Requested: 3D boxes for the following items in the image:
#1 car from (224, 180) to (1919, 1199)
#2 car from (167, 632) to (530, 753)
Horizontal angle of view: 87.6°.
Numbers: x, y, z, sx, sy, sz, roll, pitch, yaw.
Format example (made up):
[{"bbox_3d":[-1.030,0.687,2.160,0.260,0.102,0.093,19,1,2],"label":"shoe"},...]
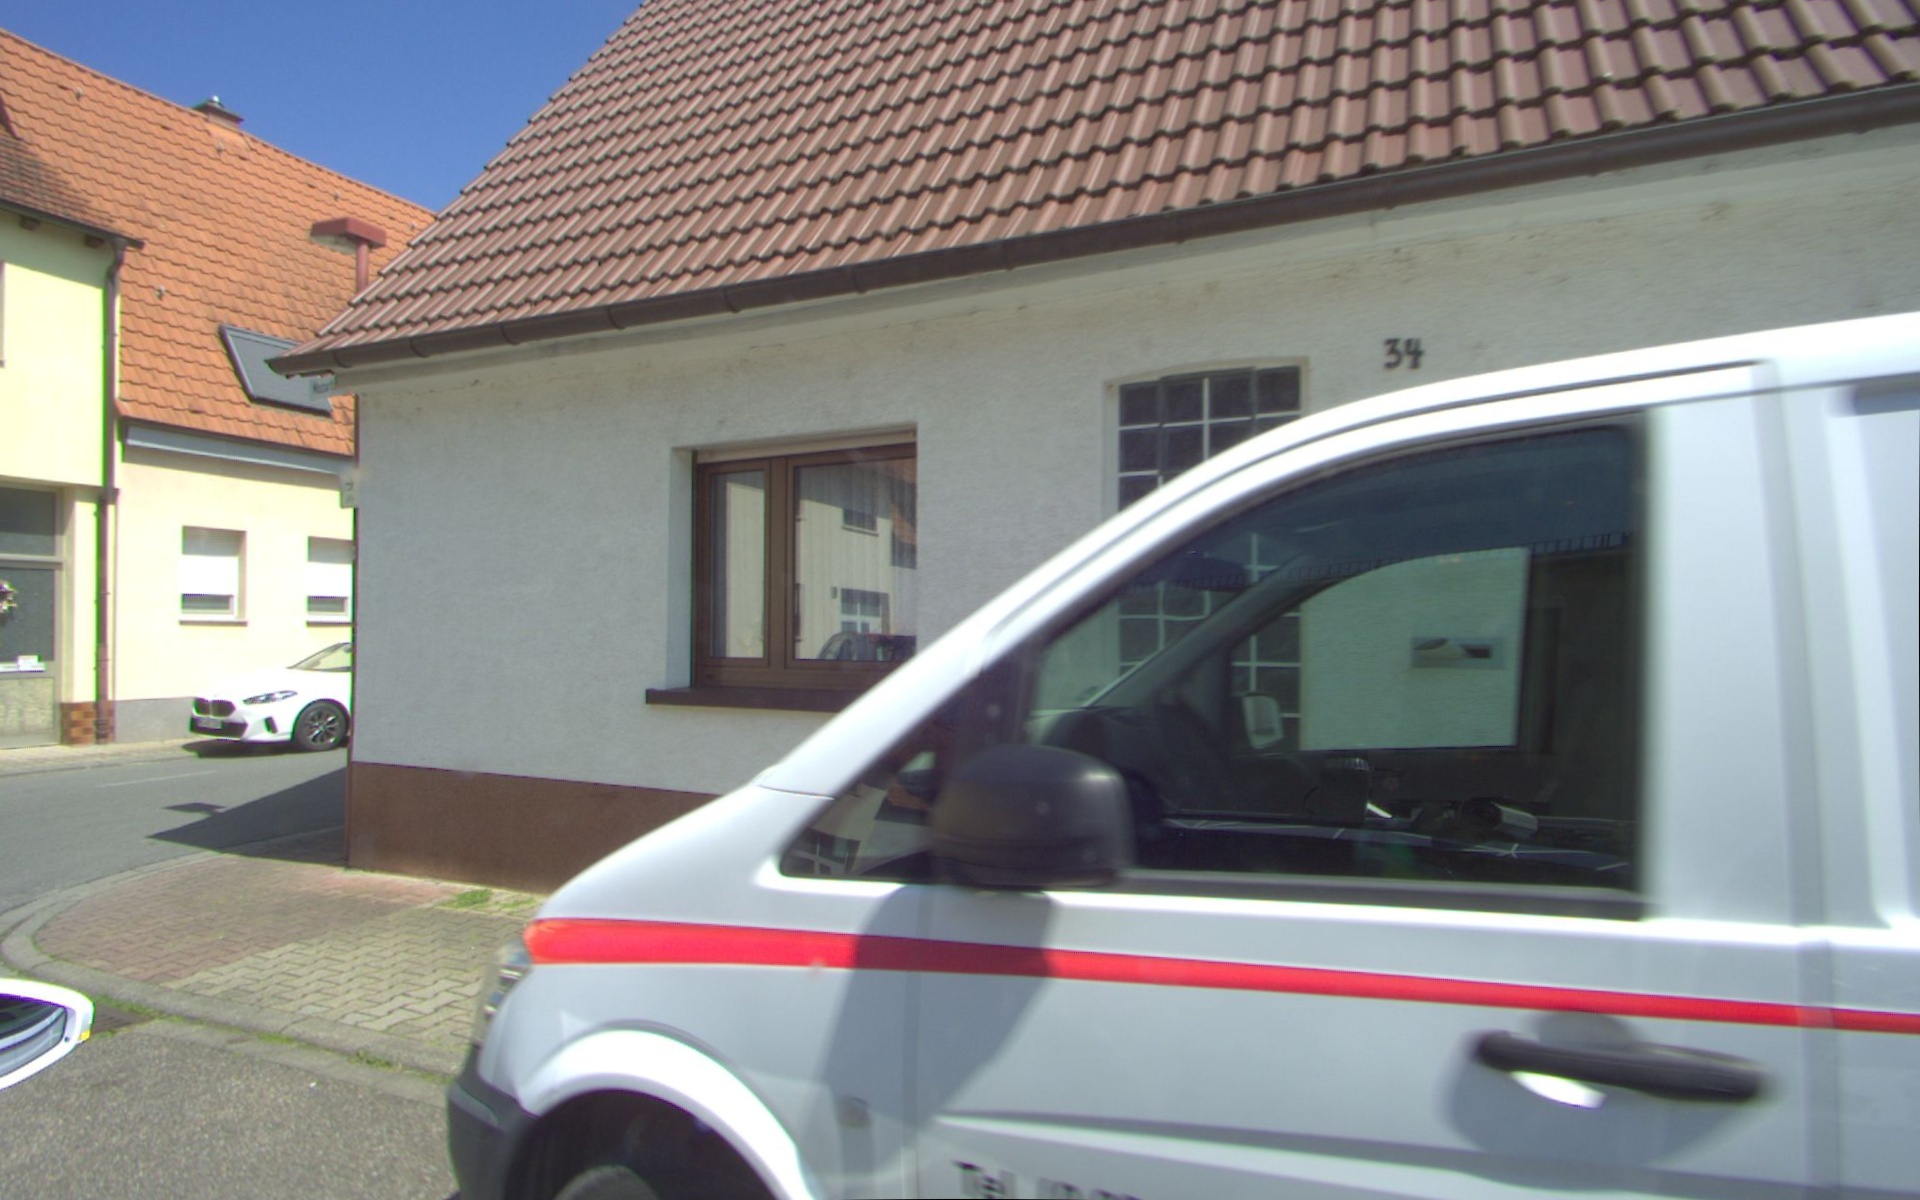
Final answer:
[{"bbox_3d":[1.319,0.606,1.760,5.180,1.861,2.014,0,-3,26],"label":"car"},{"bbox_3d":[-8.584,1.235,14.498,1.760,1.472,4.203,-1,-3,26],"label":"car"}]
